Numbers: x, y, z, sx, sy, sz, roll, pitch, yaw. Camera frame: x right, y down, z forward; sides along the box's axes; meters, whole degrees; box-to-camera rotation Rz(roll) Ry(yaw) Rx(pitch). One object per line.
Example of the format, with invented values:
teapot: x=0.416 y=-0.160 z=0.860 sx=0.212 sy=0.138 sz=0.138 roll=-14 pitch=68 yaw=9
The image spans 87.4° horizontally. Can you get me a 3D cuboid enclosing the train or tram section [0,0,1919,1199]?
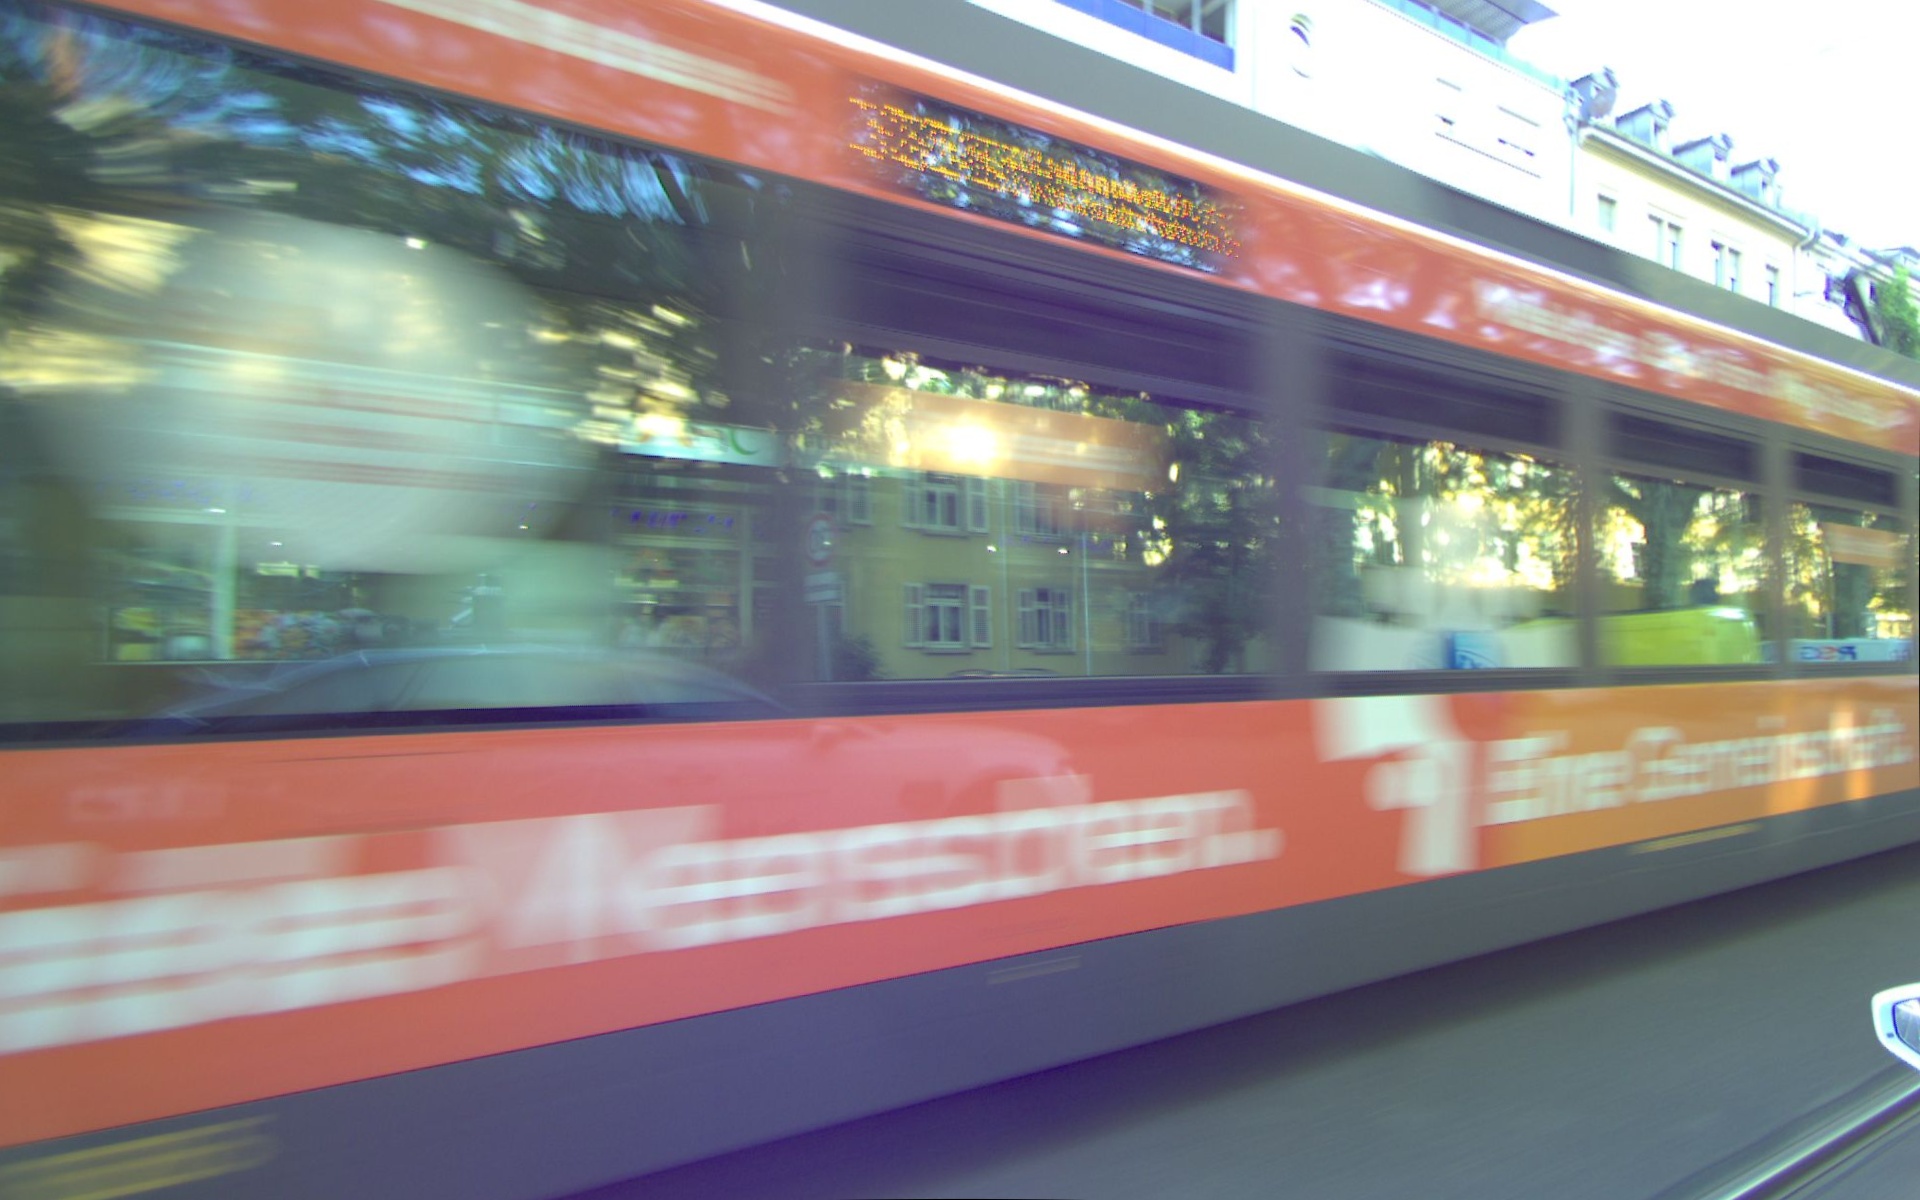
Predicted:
train or tram section: x=1.739 y=-0.317 z=5.035 sx=13.213 sy=3.532 sz=2.894 roll=2 pitch=-1 yaw=-31

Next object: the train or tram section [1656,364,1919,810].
train or tram section: x=13.414 y=0.084 z=11.900 sx=14.032 sy=3.532 sz=2.894 roll=2 pitch=-1 yaw=-31

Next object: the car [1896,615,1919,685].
car: x=26.896 y=1.342 z=26.816 sx=4.423 sy=1.794 sz=1.778 roll=2 pitch=0 yaw=-33
